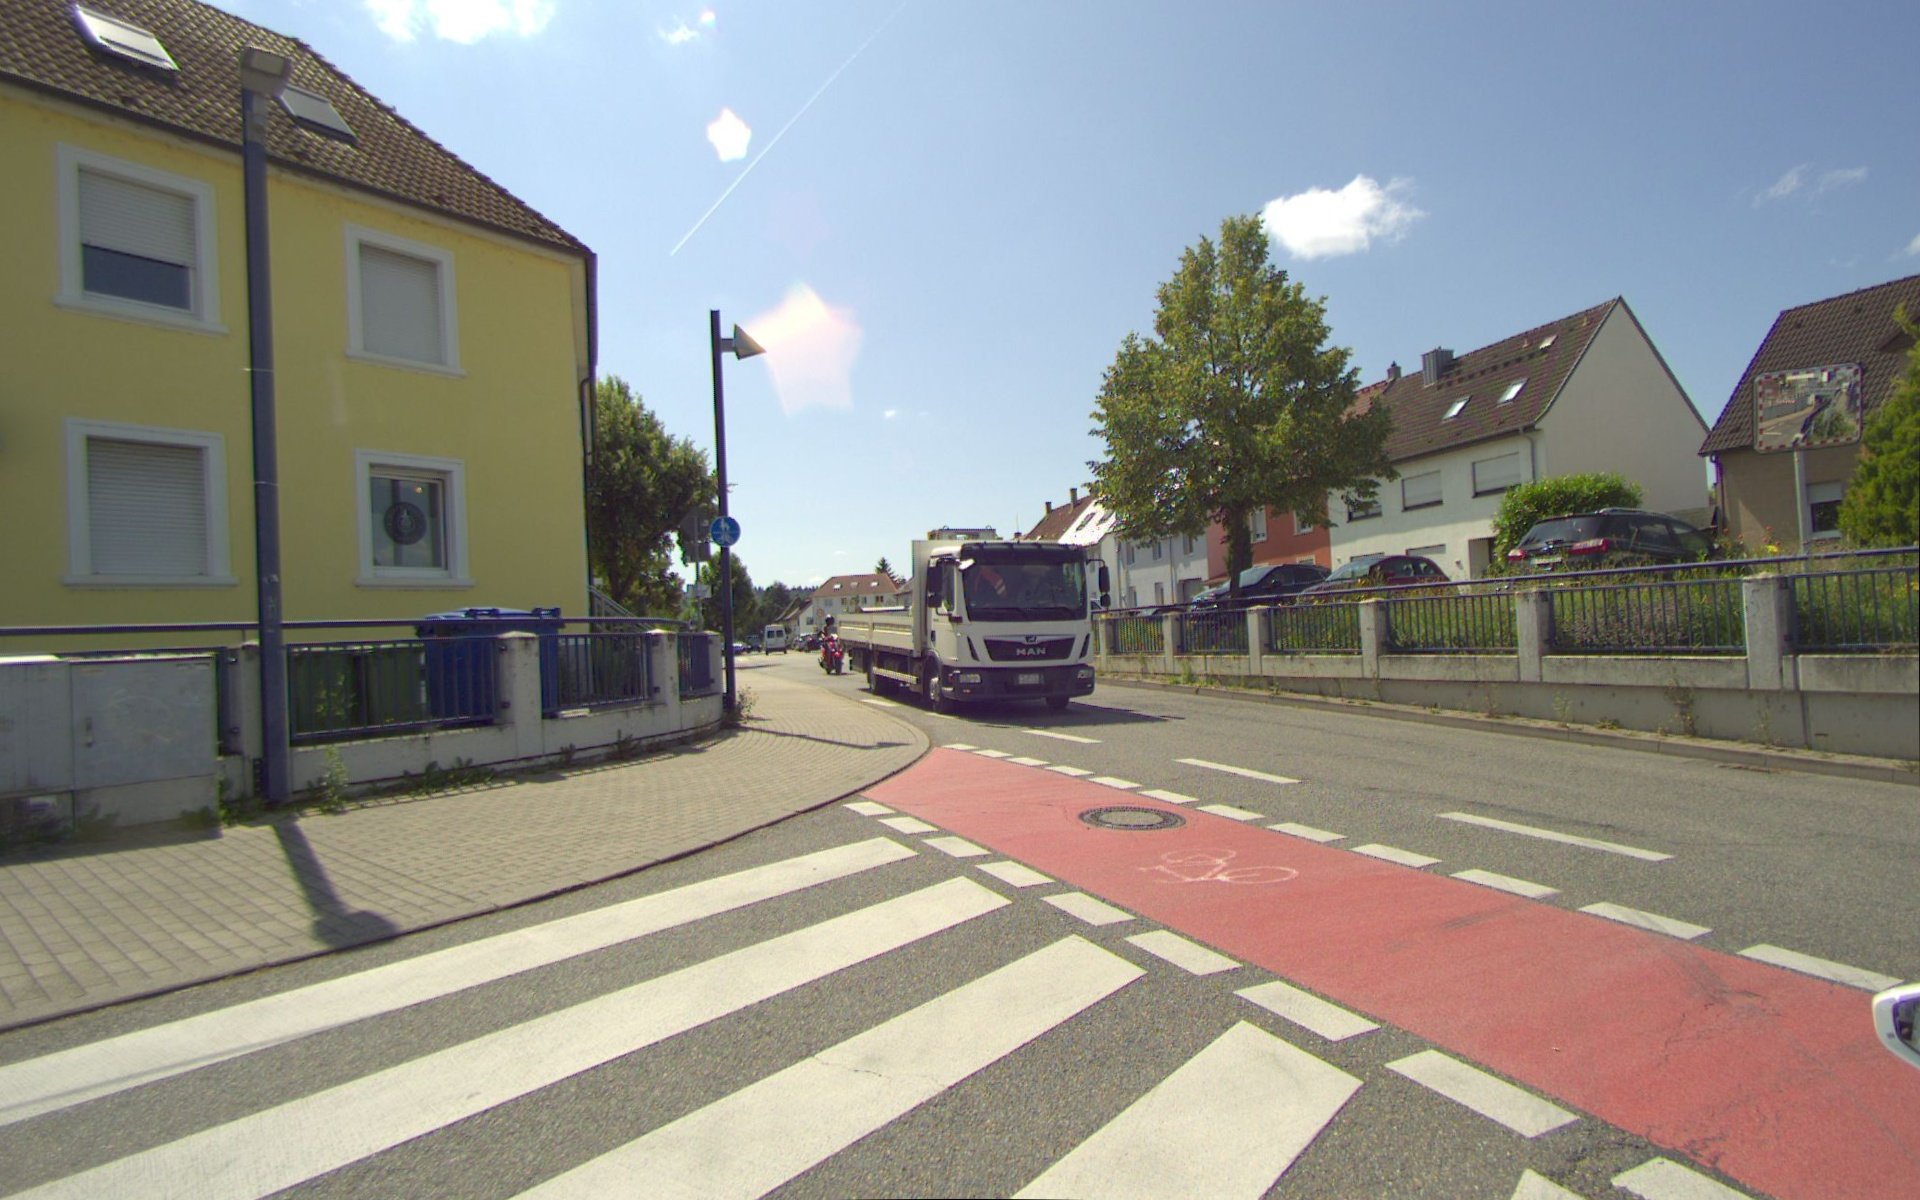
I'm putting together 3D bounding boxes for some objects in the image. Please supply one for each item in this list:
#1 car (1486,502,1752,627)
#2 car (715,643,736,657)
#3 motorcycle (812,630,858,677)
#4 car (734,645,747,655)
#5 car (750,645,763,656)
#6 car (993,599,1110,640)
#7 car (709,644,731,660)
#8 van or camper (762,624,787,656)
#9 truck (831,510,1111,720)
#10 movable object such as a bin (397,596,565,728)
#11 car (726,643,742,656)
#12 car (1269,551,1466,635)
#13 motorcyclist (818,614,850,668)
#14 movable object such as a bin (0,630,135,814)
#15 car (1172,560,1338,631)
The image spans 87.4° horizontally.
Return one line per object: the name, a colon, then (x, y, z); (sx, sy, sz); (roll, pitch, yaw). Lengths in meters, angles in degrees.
car: (10.719, -0.511, 16.335); (3.946, 1.821, 1.861); (0, 1, -26)
car: (-25.428, 5.415, 109.152); (1.965, 1.416, 3.993); (-2, -1, -11)
motorcycle: (-3.588, 1.512, 28.660); (0.718, 1.308, 2.132); (1, -2, -24)
car: (-36.056, 8.254, 165.095); (1.782, 1.416, 3.992); (-3, -1, -11)
car: (-30.530, 7.552, 150.530); (1.782, 1.416, 3.992); (-3, -1, -11)
car: (3.532, 0.743, 38.830); (4.190, 1.508, 1.740); (0, 1, -19)
car: (-23.768, 5.097, 99.521); (1.966, 1.416, 3.990); (-2, -1, -13)
van or camper: (-16.658, 3.563, 90.237); (1.970, 2.665, 5.380); (1, -1, -13)
truck: (-0.281, 0.310, 18.145); (2.577, 2.915, 8.040); (0, -1, -19)
movable object such as a bin: (-4.787, 0.597, 10.110); (0.827, 1.229, 1.275); (-3, -1, 25)
car: (-28.190, 6.167, 125.363); (1.782, 1.416, 3.993); (-2, -1, -11)
car: (8.408, -0.133, 20.748); (3.561, 1.608, 1.861); (0, 1, -26)
motorcyclist: (-3.606, 1.160, 28.650); (0.719, 1.520, 0.766); (1, -1, -24)
movable object such as a bin: (-6.745, 0.863, 7.386); (0.875, 1.241, 0.898); (-3, -2, 40)
car: (7.145, -0.106, 24.349); (3.561, 1.608, 1.861); (0, 1, -26)
